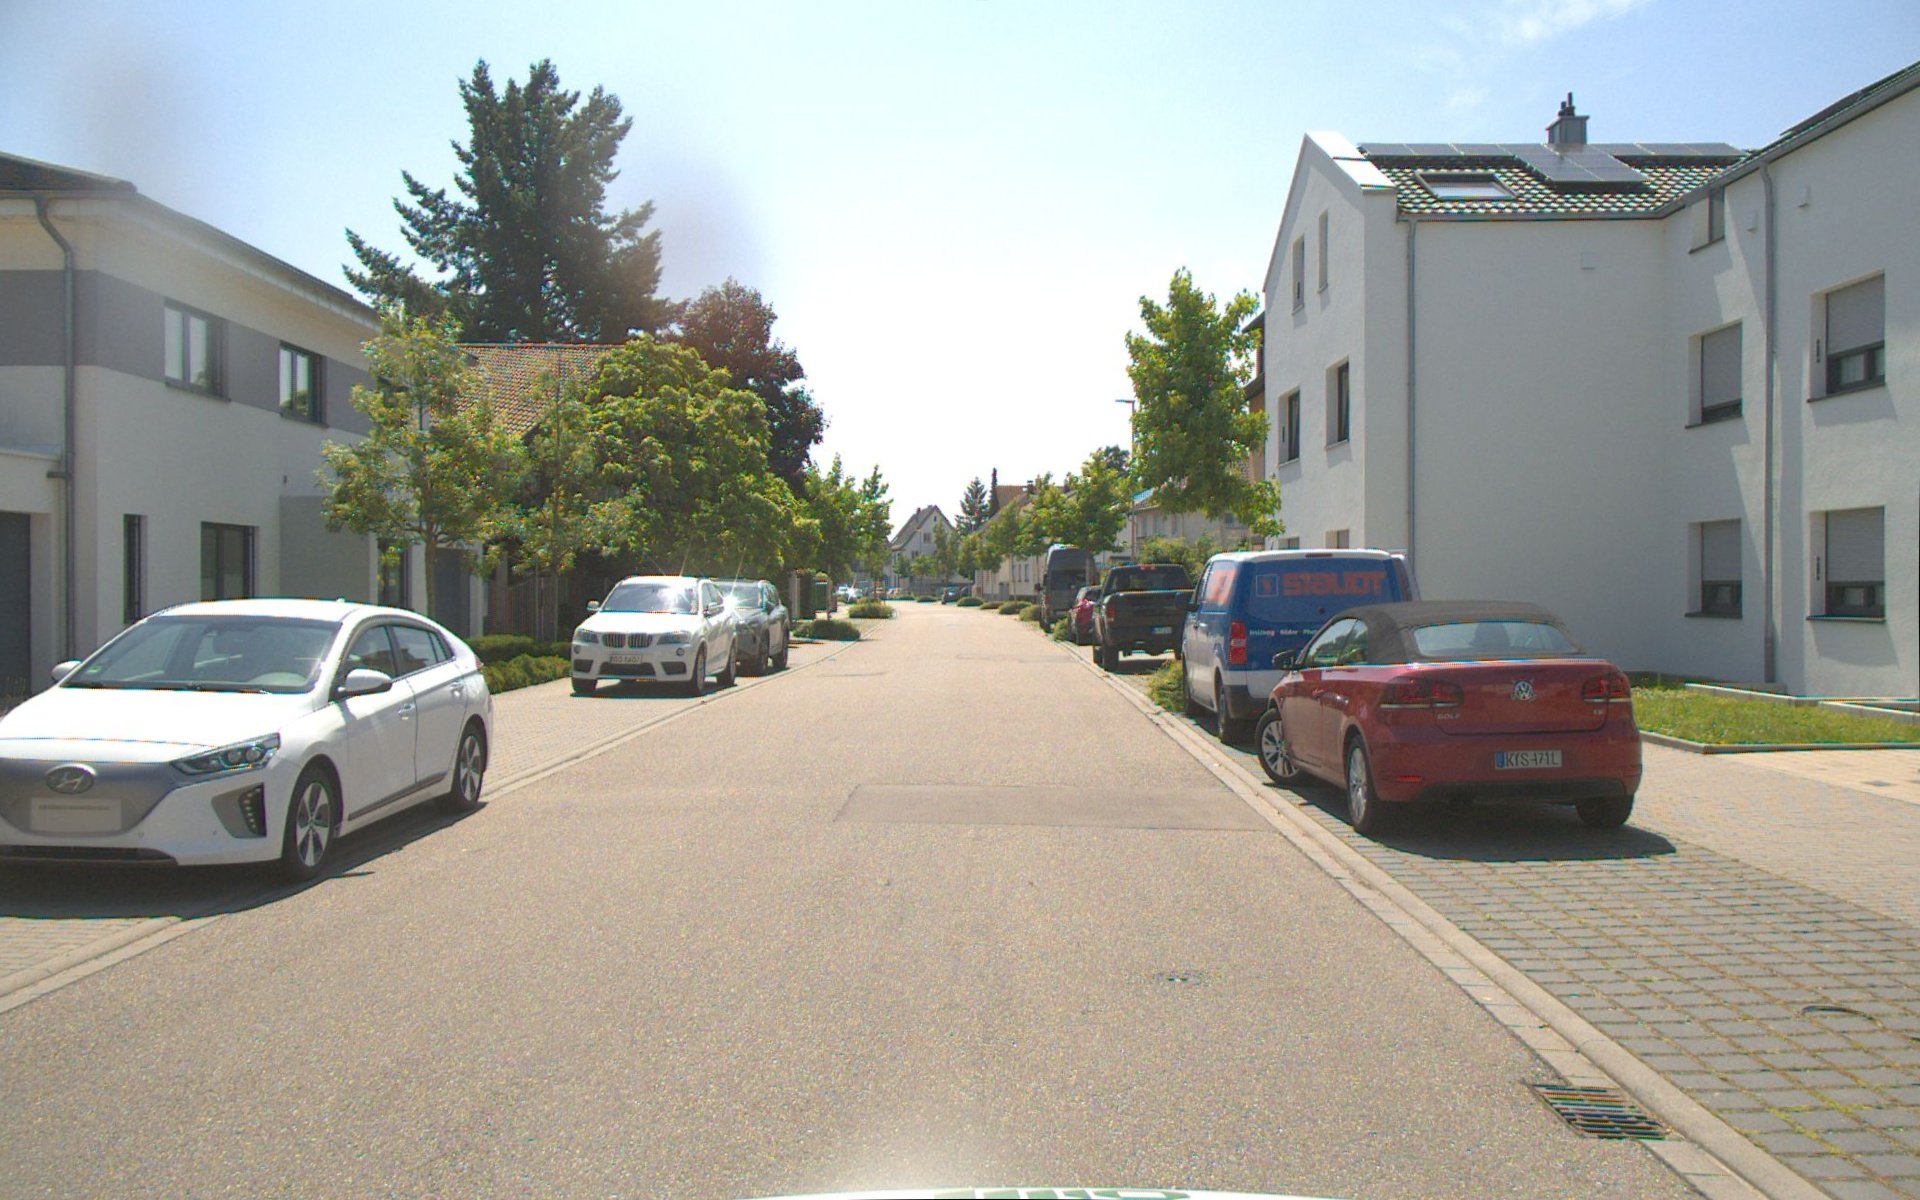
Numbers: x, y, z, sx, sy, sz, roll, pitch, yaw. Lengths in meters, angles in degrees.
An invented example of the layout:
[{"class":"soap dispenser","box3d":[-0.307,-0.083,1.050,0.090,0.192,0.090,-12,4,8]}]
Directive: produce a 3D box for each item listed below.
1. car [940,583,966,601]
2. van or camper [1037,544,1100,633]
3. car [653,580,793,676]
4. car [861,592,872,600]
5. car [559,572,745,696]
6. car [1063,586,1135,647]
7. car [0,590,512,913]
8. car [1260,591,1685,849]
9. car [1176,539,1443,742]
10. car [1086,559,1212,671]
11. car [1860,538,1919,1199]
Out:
[{"class":"car","box3d":[-0.657,-0.707,151.563,1.955,1.601,3.994,0,0,-7]},{"class":"van or camper","box3d":[3.714,-0.399,57.269,1.952,2.993,4.000,0,0,1]},{"class":"car","box3d":[-4.410,0.487,31.413,1.952,1.709,4.215,0,0,1]},{"class":"car","box3d":[-12.544,-0.518,221.583,1.166,1.089,3.048,-1,0,-8]},{"class":"car","box3d":[-4.553,0.461,25.116,1.887,1.716,4.499,0,0,1]},{"class":"car","box3d":[3.874,0.449,46.531,1.636,1.623,3.555,-1,0,-1]},{"class":"car","box3d":[-4.300,0.712,10.123,1.813,1.514,4.386,1,0,1]},{"class":"car","box3d":[3.315,0.677,11.523,1.645,1.467,4.026,0,0,-1]},{"class":"car","box3d":[3.626,0.371,18.087,2.056,1.915,4.844,0,0,2]},{"class":"car","box3d":[3.625,0.262,32.599,1.952,1.981,5.215,-1,0,1]},{"class":"car","box3d":[3.025,0.680,1.768,1.737,1.623,4.278,0,0,-1]}]
